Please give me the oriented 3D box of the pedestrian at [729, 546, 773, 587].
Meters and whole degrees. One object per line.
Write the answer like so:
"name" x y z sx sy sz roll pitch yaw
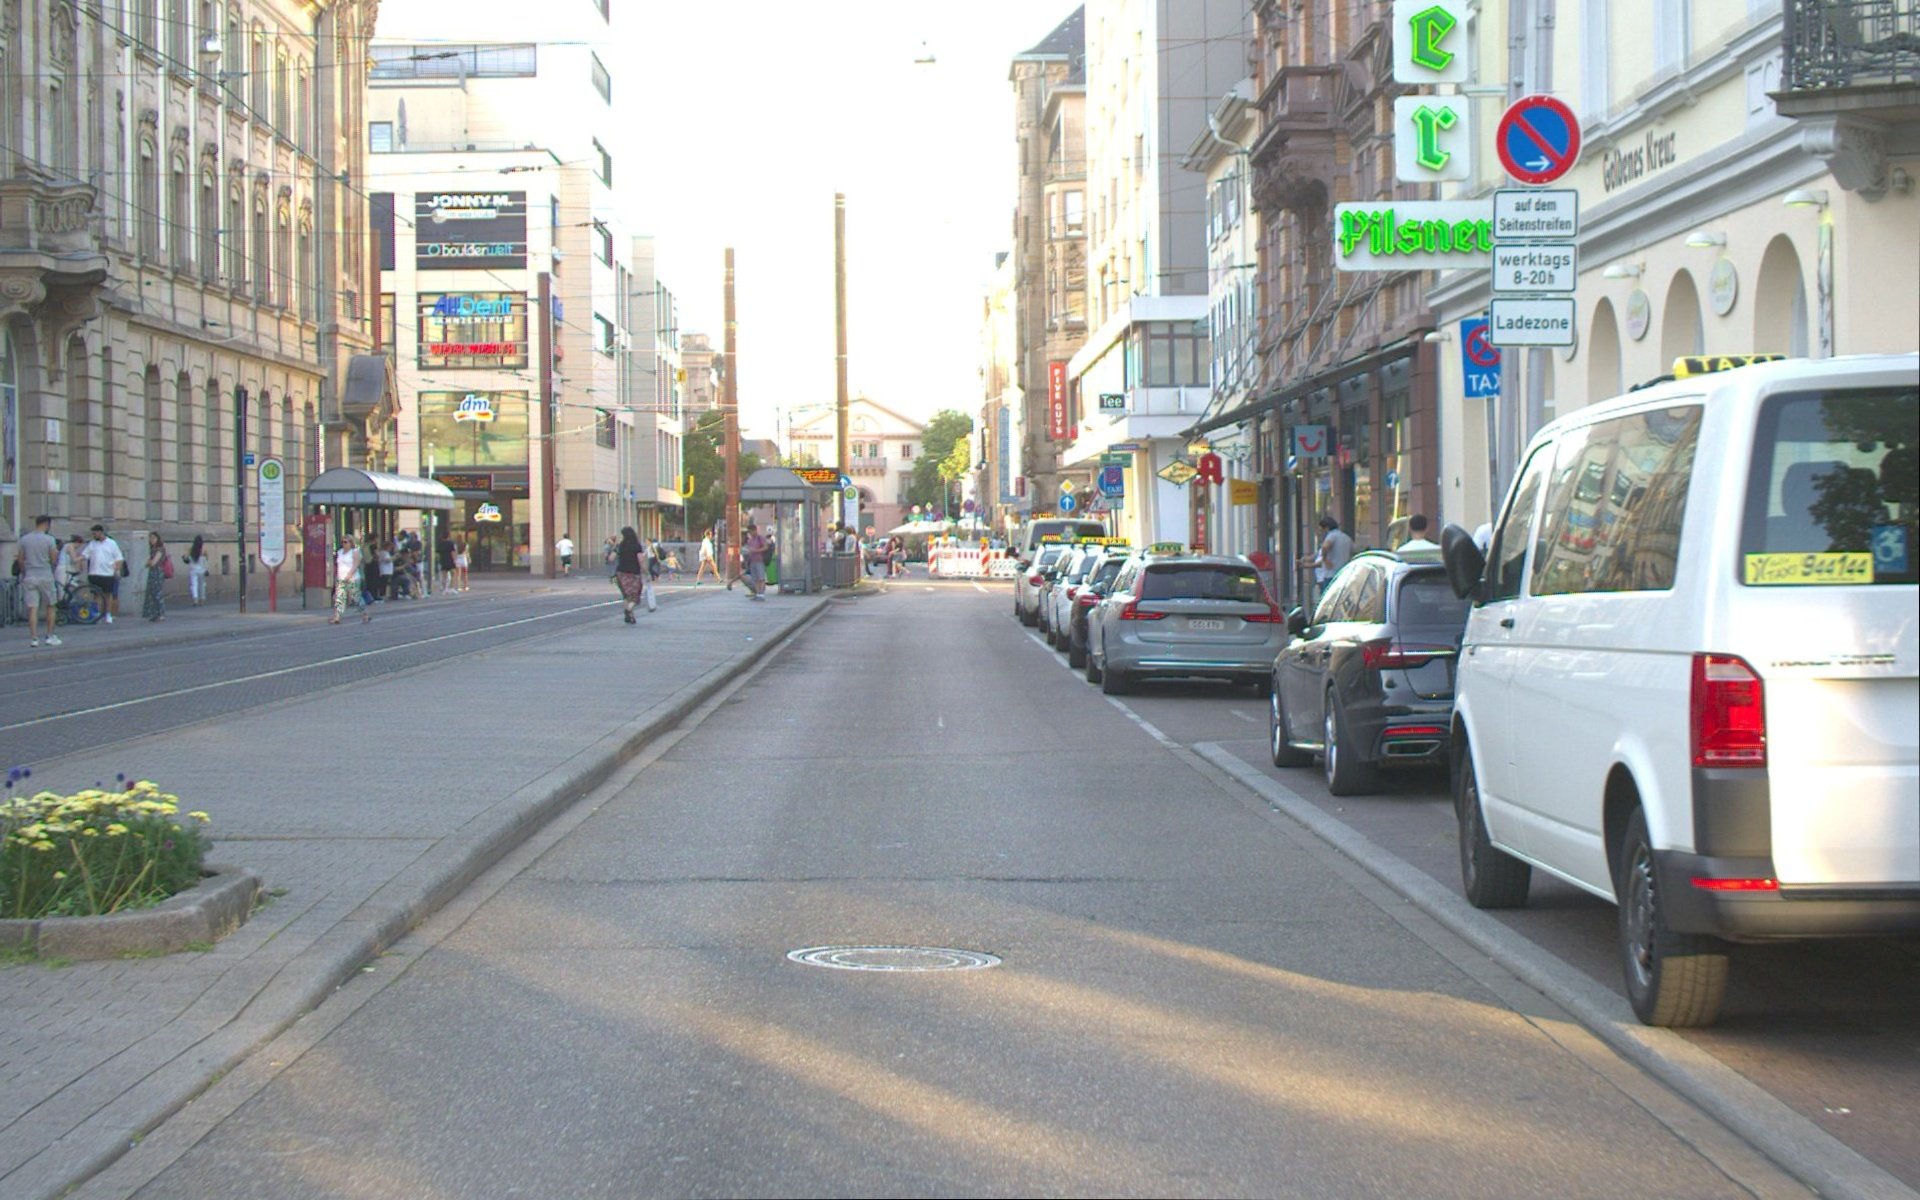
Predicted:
"pedestrian" -4.855 -0.776 79.881 0.799 0.936 0.692 0 1 22

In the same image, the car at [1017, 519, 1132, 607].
"car" 2.054 -0.711 62.757 1.806 1.478 4.779 2 1 -1

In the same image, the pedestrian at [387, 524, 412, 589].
"pedestrian" -14.362 -1.111 88.097 0.518 1.640 0.638 0 0 3

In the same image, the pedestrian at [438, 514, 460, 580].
"pedestrian" -13.669 -1.412 91.954 0.559 1.770 0.469 0 1 -5

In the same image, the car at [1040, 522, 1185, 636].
"car" 2.150 -0.314 49.544 1.732 1.506 4.865 2 1 -1

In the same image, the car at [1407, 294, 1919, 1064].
"car" 2.848 0.168 11.847 1.852 2.060 5.216 -1 1 -1

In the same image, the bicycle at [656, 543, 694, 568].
"bicycle" -13.067 -2.042 157.552 1.696 1.118 0.451 1 0 2

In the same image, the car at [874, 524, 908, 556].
"car" -4.196 -3.616 208.411 1.993 1.897 4.000 1 1 -1

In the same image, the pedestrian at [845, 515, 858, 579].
"pedestrian" -3.064 -1.501 97.219 0.341 1.789 0.544 1 0 -3

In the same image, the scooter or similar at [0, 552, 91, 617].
"scooter or similar" -15.486 -0.268 57.981 1.547 1.064 0.451 1 0 4

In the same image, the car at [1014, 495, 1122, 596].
"car" 2.145 -1.087 69.590 1.876 1.917 4.700 2 1 -1

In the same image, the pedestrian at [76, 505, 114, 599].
"pedestrian" -15.227 -0.838 60.537 0.476 1.636 0.562 1 0 4

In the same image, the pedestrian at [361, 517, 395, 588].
"pedestrian" -13.423 -1.093 79.244 0.518 1.645 0.637 0 0 21

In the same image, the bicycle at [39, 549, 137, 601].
"bicycle" -15.212 -0.438 59.973 1.576 0.871 0.451 1 0 4

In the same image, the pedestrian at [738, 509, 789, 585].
"pedestrian" -4.277 -1.153 74.837 0.687 1.632 0.859 1 1 40

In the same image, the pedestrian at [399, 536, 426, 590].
"pedestrian" -13.400 -0.899 84.173 0.518 1.323 0.638 0 0 3

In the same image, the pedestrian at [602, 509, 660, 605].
"pedestrian" -5.215 -0.685 54.583 0.846 1.496 0.901 0 1 -1

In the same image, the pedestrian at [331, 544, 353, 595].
"pedestrian" -13.423 -0.670 74.657 0.364 1.099 0.429 1 0 5

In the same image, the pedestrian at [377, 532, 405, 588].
"pedestrian" -13.499 -0.937 81.561 0.518 1.323 0.638 0 0 3

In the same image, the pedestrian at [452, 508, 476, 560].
"pedestrian" -14.512 -1.927 100.575 0.526 1.520 0.502 -1 1 -35

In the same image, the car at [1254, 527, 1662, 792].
"car" 2.882 0.297 20.834 1.696 1.385 4.548 -2 1 -1

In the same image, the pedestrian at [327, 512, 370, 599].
"pedestrian" -11.078 -0.808 62.318 0.659 1.556 0.680 0 1 -1

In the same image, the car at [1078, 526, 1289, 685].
"car" 2.287 0.007 36.300 1.806 1.470 4.694 1 2 -1

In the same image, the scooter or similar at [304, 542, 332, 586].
"scooter or similar" -17.519 -0.979 93.838 0.487 1.178 1.293 1 0 1

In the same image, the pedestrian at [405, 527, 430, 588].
"pedestrian" -14.026 -1.097 88.866 0.518 1.564 0.638 0 0 3

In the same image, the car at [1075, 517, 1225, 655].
"car" 2.338 -0.186 43.034 1.733 1.585 4.441 2 1 2

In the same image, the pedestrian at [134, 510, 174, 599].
"pedestrian" -14.634 -0.828 62.414 0.570 1.600 0.440 1 0 6

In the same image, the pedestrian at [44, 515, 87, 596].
"pedestrian" -15.984 -0.792 61.439 0.440 1.435 0.571 1 0 36

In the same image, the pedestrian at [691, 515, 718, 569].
"pedestrian" -8.715 -1.970 117.275 0.699 1.809 0.852 1 1 9

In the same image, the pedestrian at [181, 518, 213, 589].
"pedestrian" -16.904 -1.039 76.194 0.659 1.556 0.680 0 1 -15

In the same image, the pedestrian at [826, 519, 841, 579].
"pedestrian" -3.479 -1.403 94.395 0.385 1.636 0.549 1 0 -3

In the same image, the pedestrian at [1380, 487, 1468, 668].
"pedestrian" 4.460 -0.221 33.038 0.619 1.683 0.485 -4 1 20

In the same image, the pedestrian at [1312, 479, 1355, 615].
"pedestrian" 4.903 -0.698 45.184 0.372 1.762 0.663 -2 1 -4

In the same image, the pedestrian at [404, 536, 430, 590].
"pedestrian" -13.414 -0.907 84.941 0.518 1.323 0.638 0 0 3

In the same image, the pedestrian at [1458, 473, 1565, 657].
"pedestrian" 5.259 -0.338 32.786 0.760 1.683 0.551 -4 1 24

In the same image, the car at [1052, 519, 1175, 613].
"car" 2.531 -0.566 57.538 1.726 1.472 4.821 1 1 -1

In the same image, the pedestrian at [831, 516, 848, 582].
"pedestrian" -3.206 -1.356 91.387 0.412 1.761 0.594 1 0 -3

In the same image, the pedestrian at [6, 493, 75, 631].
"pedestrian" -12.161 -0.504 45.473 0.692 1.806 0.815 0 1 -1

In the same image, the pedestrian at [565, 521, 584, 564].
"pedestrian" -16.815 -2.494 149.901 0.573 1.848 0.816 1 0 11

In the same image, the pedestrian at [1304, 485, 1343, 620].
"pedestrian" 4.825 -0.633 45.655 0.372 1.762 0.456 -2 1 -4
